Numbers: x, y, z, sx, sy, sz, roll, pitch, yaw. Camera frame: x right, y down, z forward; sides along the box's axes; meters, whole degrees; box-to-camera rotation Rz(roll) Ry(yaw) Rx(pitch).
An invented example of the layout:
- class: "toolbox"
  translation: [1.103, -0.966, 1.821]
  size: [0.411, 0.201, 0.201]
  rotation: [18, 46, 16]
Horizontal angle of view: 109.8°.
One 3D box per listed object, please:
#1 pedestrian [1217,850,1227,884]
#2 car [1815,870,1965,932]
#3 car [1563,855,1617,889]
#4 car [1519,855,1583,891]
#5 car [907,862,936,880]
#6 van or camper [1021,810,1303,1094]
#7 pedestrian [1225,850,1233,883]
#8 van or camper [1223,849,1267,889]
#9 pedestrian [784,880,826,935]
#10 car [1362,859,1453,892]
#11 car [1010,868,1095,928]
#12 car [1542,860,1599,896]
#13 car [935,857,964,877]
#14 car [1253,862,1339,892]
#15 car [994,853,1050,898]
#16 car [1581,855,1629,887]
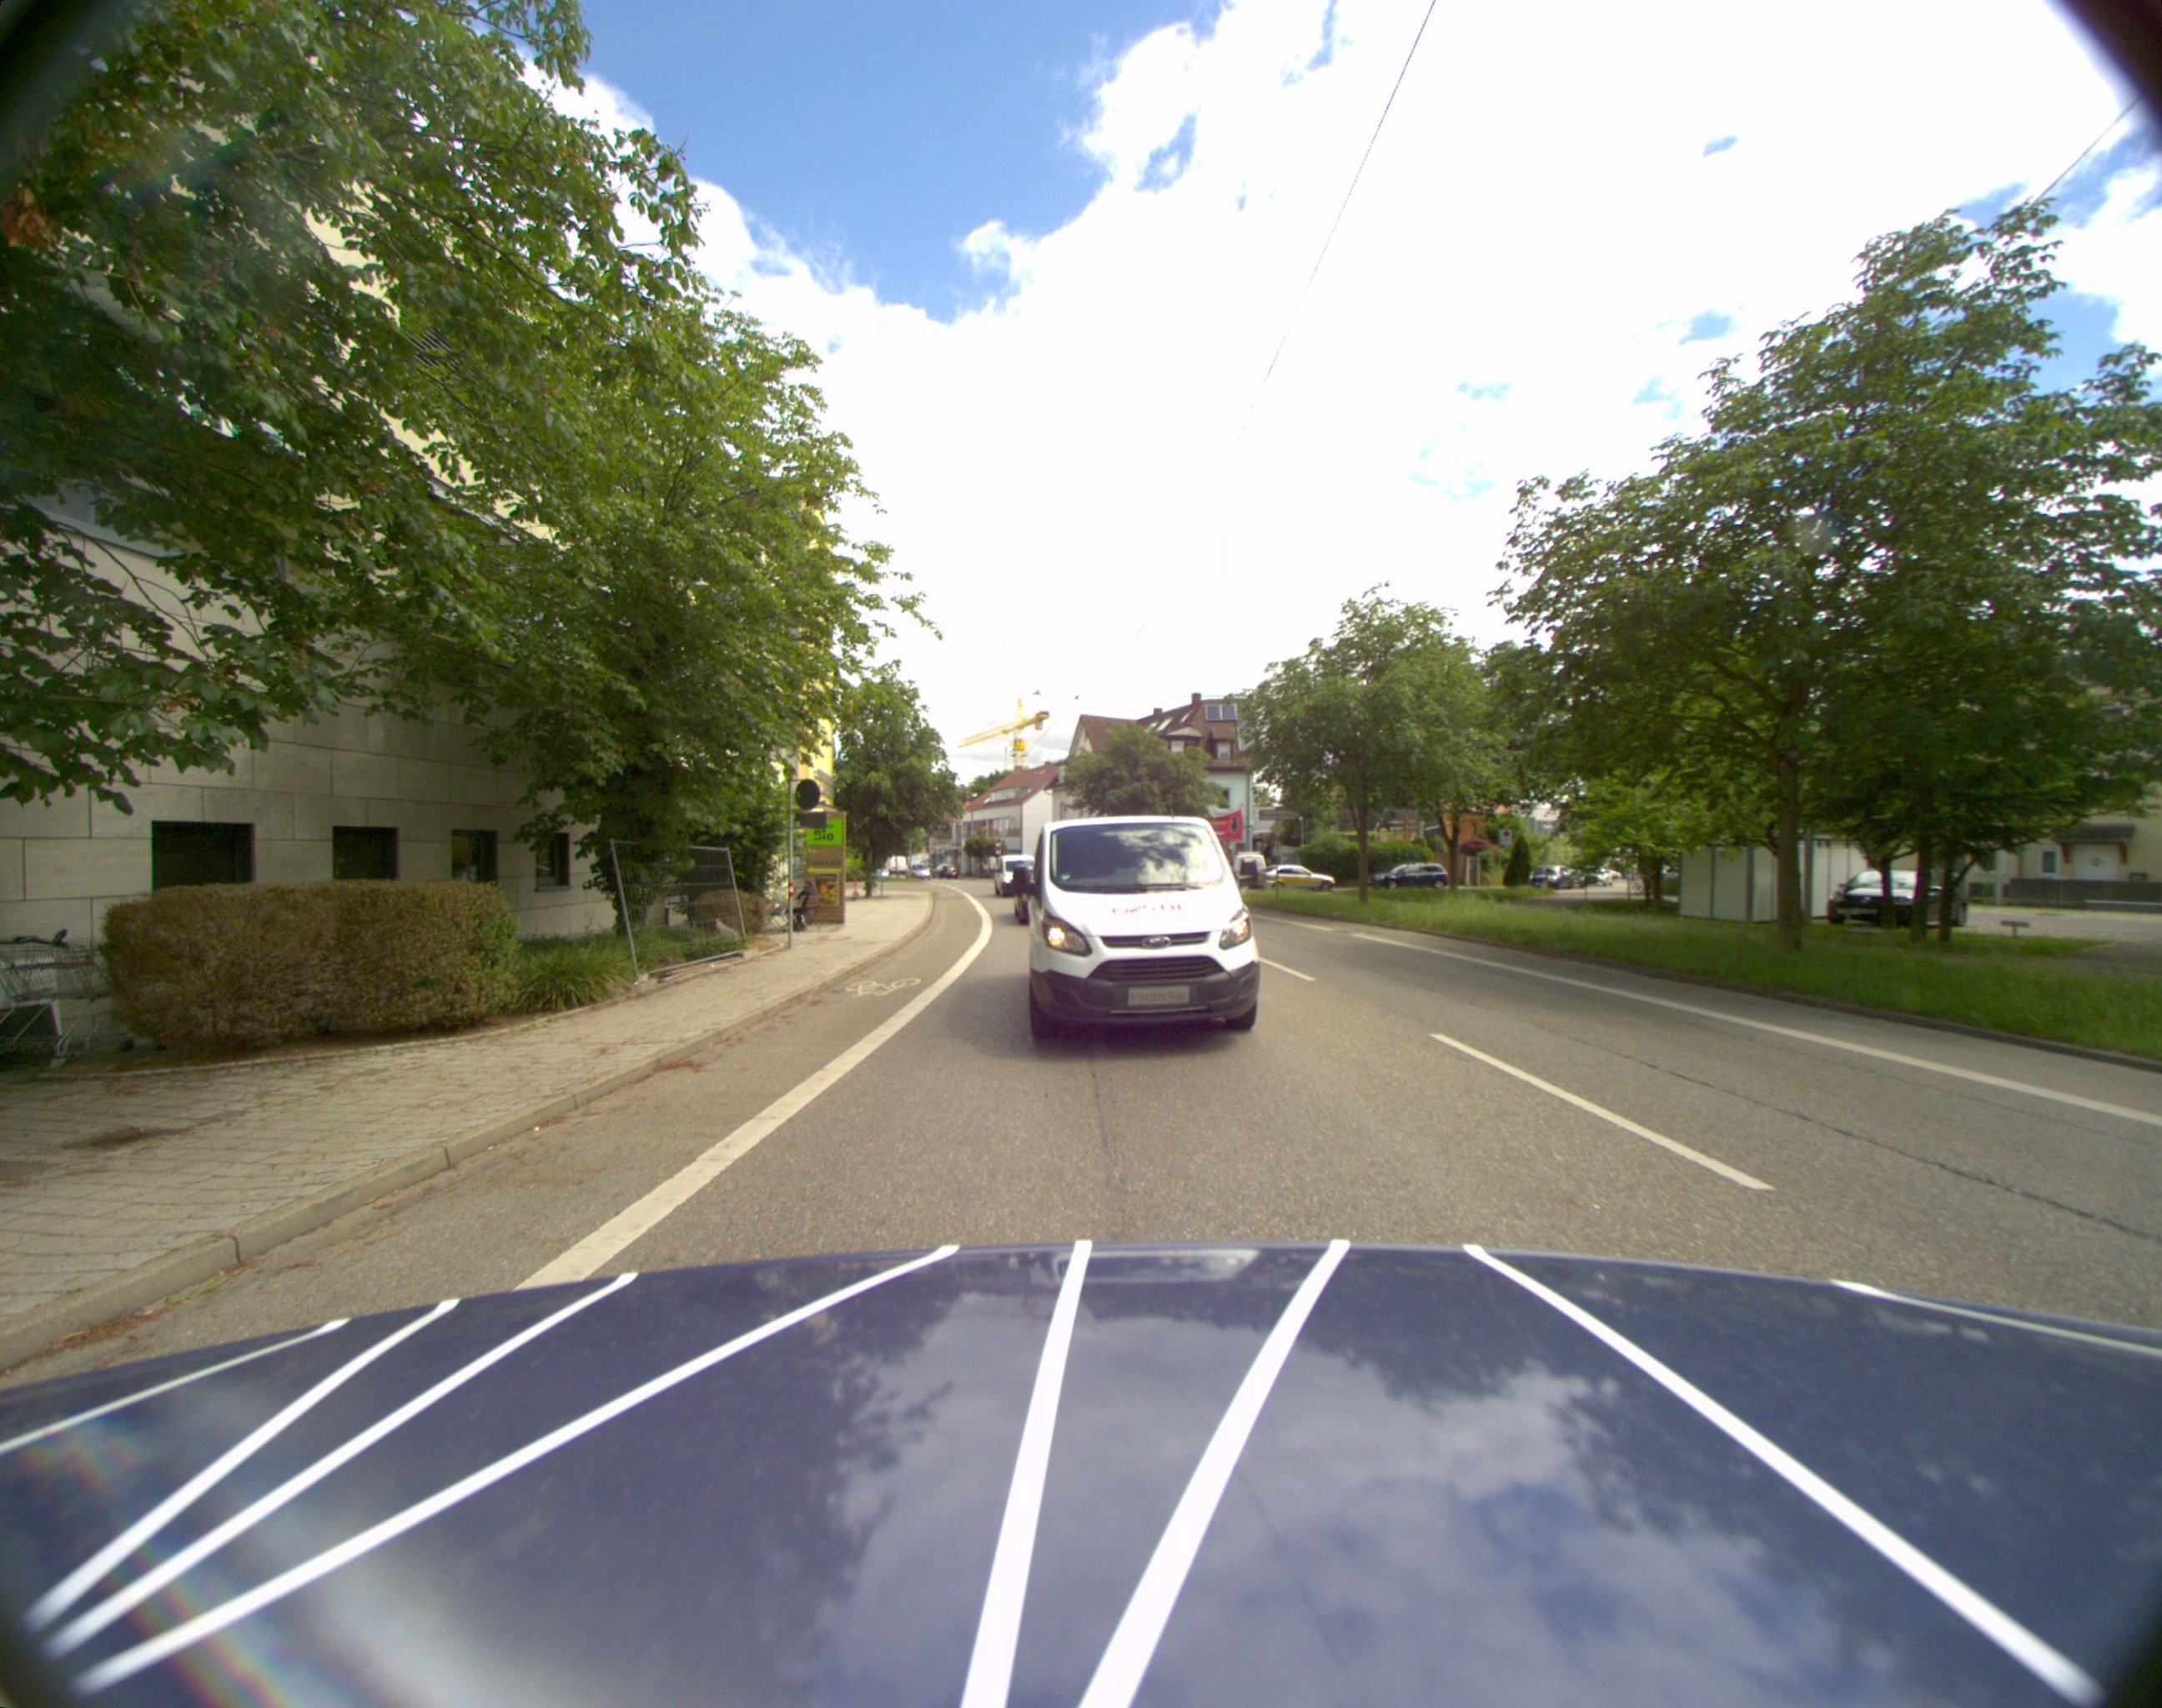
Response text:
- class: "pedestrian"
  translation: [8.504, 0.777, 45.861]
  size: [0.425, 2.002, 0.363]
  rotation: [-2, 1, 1]
- class: "car"
  translation: [20.998, 1.143, 19.692]
  size: [4.006, 1.411, 1.789]
  rotation: [0, 0, -30]
- class: "car"
  translation: [33.688, 1.154, 50.254]
  size: [4.007, 2.002, 1.995]
  rotation: [-3, 1, -41]
- class: "car"
  translation: [27.511, 1.055, 44.436]
  size: [4.008, 2.002, 1.976]
  rotation: [0, 0, -40]
- class: "car"
  translation: [-14.393, 1.481, 68.374]
  size: [1.696, 1.477, 3.992]
  rotation: [-3, 1, -25]
- class: "van or camper"
  translation: [0.410, 0.701, 7.970]
  size: [2.028, 2.002, 5.101]
  rotation: [0, 0, -4]
- class: "pedestrian"
  translation: [8.929, 0.771, 45.857]
  size: [0.383, 1.979, 0.443]
  rotation: [-2, 1, 1]
- class: "van or camper"
  translation: [9.347, 0.807, 43.619]
  size: [1.793, 2.077, 3.811]
  rotation: [-2, 1, 3]
- class: "pedestrian"
  translation: [-6.674, 1.279, 18.421]
  size: [0.731, 1.293, 0.754]
  rotation: [0, 0, 1]
- class: "car"
  translation: [16.908, 1.101, 39.494]
  size: [3.976, 1.672, 1.717]
  rotation: [0, 1, -3]
- class: "car"
  translation: [-0.872, 1.105, 20.463]
  size: [1.841, 1.382, 3.997]
  rotation: [0, 0, -9]
- class: "car"
  translation: [30.527, 1.460, 47.376]
  size: [4.007, 2.002, 1.994]
  rotation: [-3, 1, -43]
- class: "car"
  translation: [-12.880, 1.222, 74.188]
  size: [1.744, 1.840, 3.991]
  rotation: [0, 0, -25]
- class: "car"
  translation: [11.149, 1.164, 39.450]
  size: [4.046, 1.314, 1.534]
  rotation: [-2, 1, -12]
- class: "car"
  translation: [-2.713, 0.906, 33.916]
  size: [1.854, 1.805, 3.995]
  rotation: [-3, 1, -13]
- class: "car"
  translation: [36.916, 1.163, 53.486]
  size: [4.007, 2.002, 1.893]
  rotation: [-3, 1, -42]
